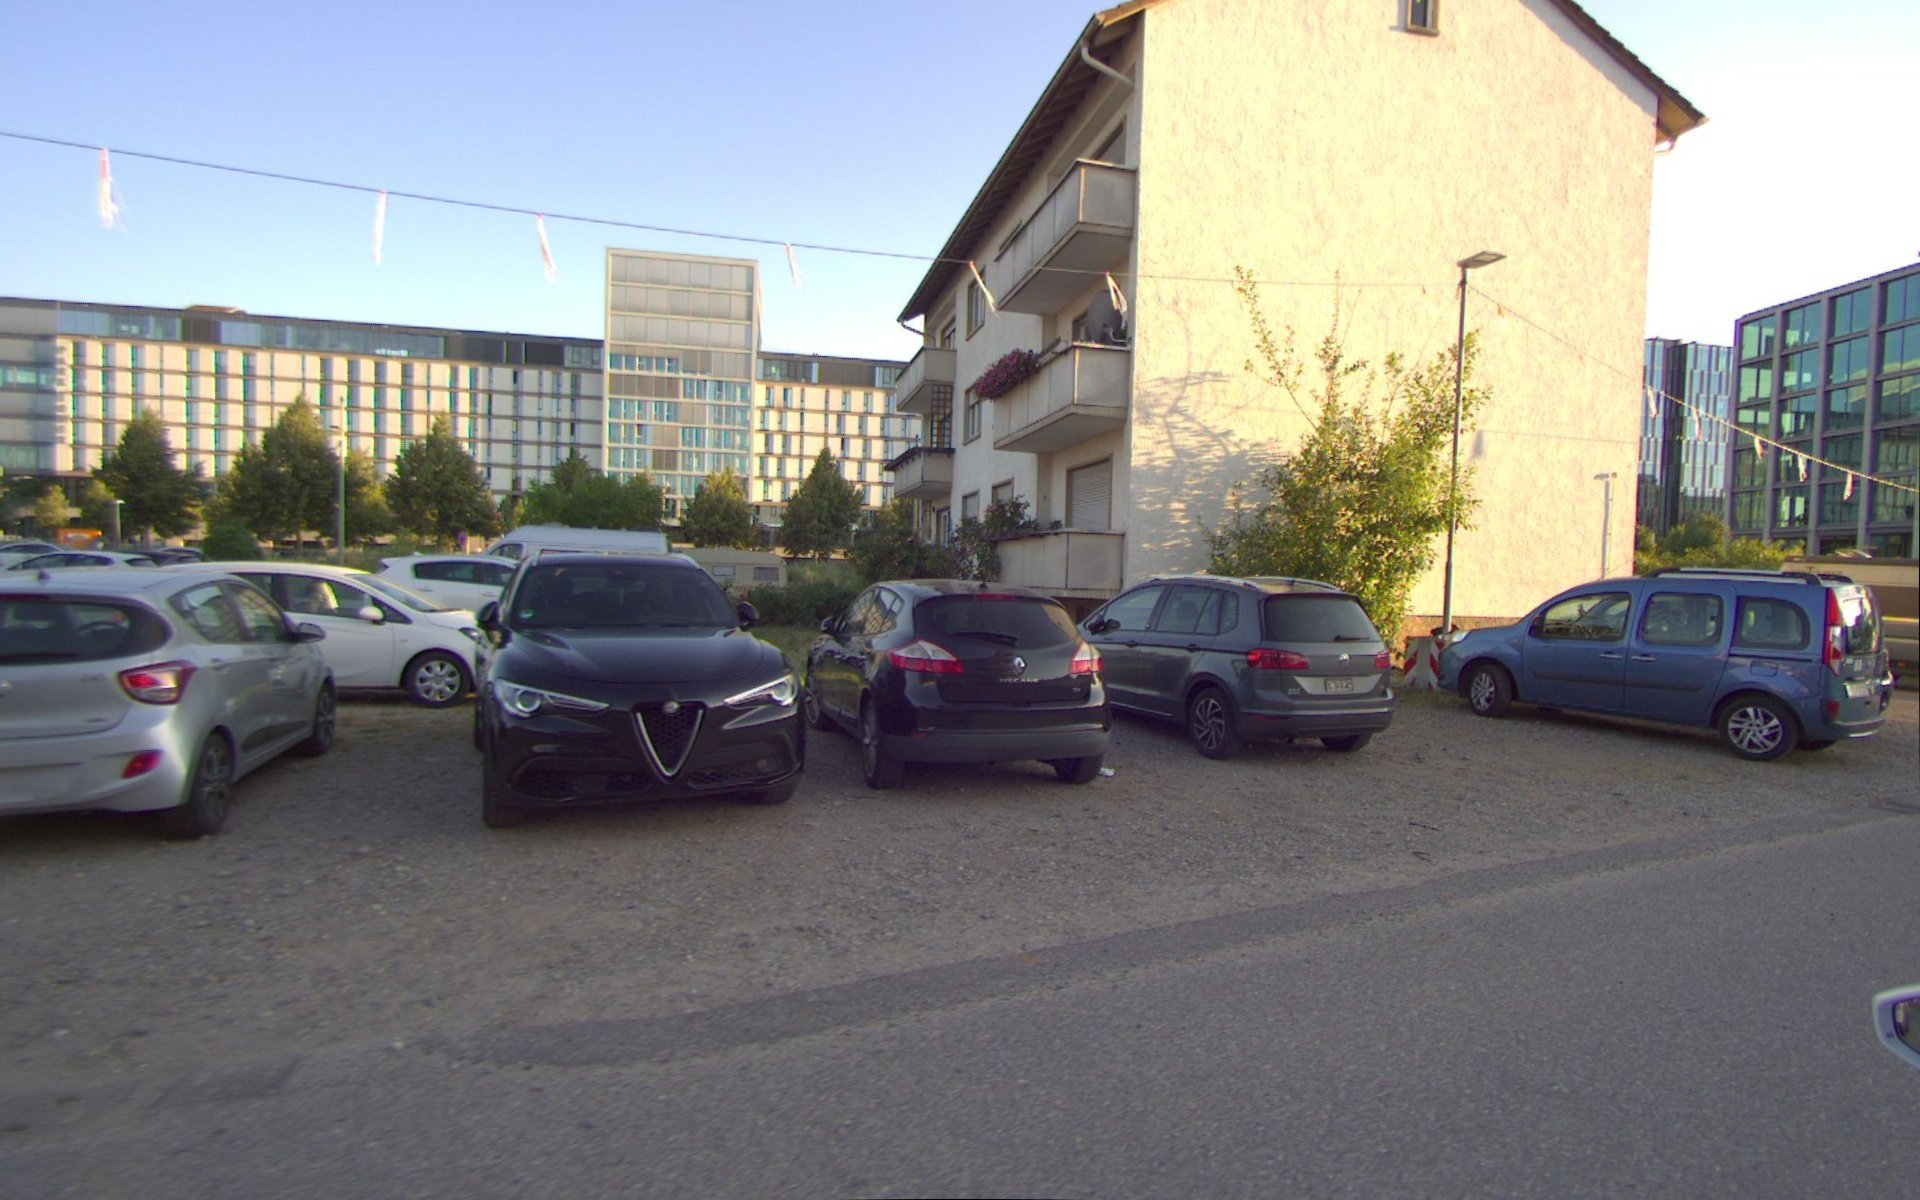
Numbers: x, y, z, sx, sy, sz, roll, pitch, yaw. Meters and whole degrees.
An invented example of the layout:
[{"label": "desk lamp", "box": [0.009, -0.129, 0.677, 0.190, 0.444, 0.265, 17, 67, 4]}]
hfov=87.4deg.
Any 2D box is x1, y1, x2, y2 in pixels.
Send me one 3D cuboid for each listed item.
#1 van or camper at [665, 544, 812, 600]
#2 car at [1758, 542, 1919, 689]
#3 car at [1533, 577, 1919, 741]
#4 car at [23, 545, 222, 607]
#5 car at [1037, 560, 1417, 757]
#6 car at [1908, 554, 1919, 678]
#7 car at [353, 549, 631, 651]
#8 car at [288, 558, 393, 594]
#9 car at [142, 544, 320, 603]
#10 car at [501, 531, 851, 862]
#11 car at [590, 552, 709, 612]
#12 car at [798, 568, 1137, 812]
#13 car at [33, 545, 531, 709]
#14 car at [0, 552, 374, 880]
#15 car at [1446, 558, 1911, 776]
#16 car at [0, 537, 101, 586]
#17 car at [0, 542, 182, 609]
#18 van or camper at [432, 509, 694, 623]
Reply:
[{"label": "van or camper", "box": [-8.662, -1.063, 39.571, 5.500, 2.021, 1.843, 1, 0, -12]}, {"label": "car", "box": [19.457, 0.390, 19.027, 2.088, 2.749, 6.357, 2, 3, -29]}, {"label": "car", "box": [9.932, 0.632, 13.220, 1.721, 1.674, 3.919, 1, 3, -20]}, {"label": "car", "box": [-23.222, -0.648, 27.998, 3.871, 1.560, 1.659, 2, 1, -14]}, {"label": "car", "box": [2.451, 0.424, 10.260, 1.621, 1.601, 3.914, 0, 2, -25]}, {"label": "car", "box": [23.349, 0.530, 20.172, 2.022, 2.750, 5.808, 1, 3, -24]}, {"label": "car", "box": [-8.343, 0.001, 18.294, 4.242, 1.653, 1.845, 2, 1, -13]}, {"label": "car", "box": [-29.328, -1.135, 47.638, 3.871, 1.560, 1.659, 2, 1, -14]}, {"label": "car", "box": [-25.606, -0.917, 35.447, 4.753, 1.867, 1.680, 2, 1, -12]}, {"label": "car", "box": [-2.306, 0.448, 7.241, 1.796, 1.650, 4.077, 1, 1, -25]}, {"label": "car", "box": [-11.281, -0.650, 36.775, 3.930, 2.041, 1.995, 1, 1, -12]}, {"label": "car", "box": [-0.211, 0.544, 8.421, 1.618, 1.537, 3.921, 2, 1, -19]}, {"label": "car", "box": [-7.023, 0.286, 10.937, 4.083, 1.543, 1.843, 2, 1, -17]}, {"label": "car", "box": [-5.322, 0.475, 6.566, 1.780, 1.542, 3.921, 0, 3, -19]}, {"label": "car", "box": [7.956, 0.564, 11.491, 1.731, 1.937, 3.898, 0, 4, -35]}, {"label": "car", "box": [-31.870, -1.319, 34.102, 3.807, 1.545, 1.564, 2, 1, -12]}, {"label": "car", "box": [-22.439, -0.624, 25.499, 3.871, 1.560, 1.659, 2, 1, -14]}, {"label": "van or camper", "box": [-9.368, -0.776, 24.202, 5.585, 2.425, 1.845, 2, 1, -13]}]
